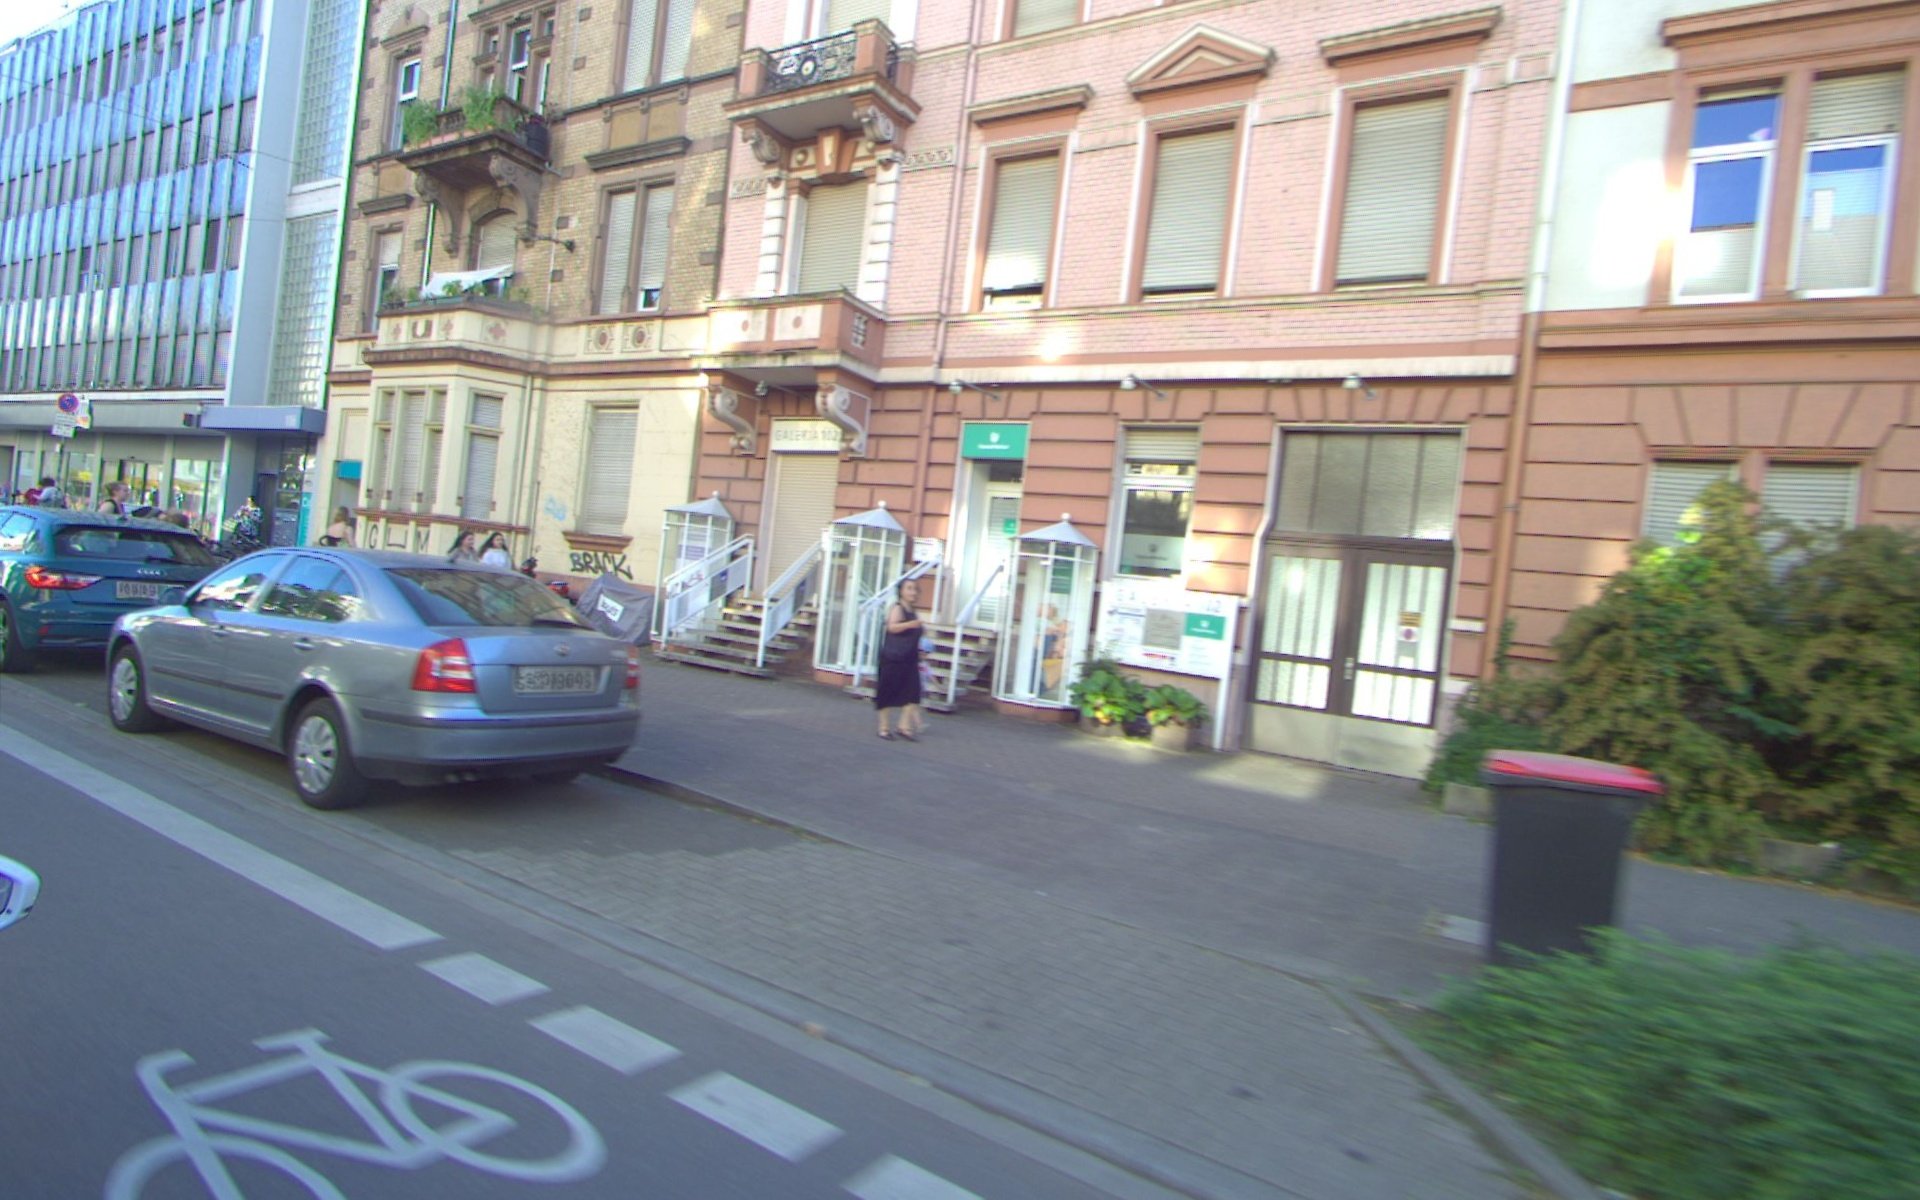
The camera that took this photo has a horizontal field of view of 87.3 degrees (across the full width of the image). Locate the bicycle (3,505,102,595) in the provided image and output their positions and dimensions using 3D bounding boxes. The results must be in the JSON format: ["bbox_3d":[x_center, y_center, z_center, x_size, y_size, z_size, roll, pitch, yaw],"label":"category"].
[{"bbox_3d":[-13.739,-0.764,15.227,1.218,1.199,0.694,6,-1,31],"label":"bicycle"}]

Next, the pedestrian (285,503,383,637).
[{"bbox_3d":[-8.114,-0.380,13.056,0.643,1.626,0.713,7,-1,31],"label":"pedestrian"}]

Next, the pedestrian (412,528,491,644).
[{"bbox_3d":[-7.502,-0.203,14.849,0.643,1.628,0.712,7,3,31],"label":"pedestrian"}]

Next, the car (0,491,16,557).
[{"bbox_3d":[-23.045,-1.929,21.567,1.804,1.504,3.789,7,-2,2],"label":"car"}]

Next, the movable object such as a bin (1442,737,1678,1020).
[{"bbox_3d":[2.775,1.234,4.692,0.792,1.040,0.605,6,0,32],"label":"movable object such as a bin"}]

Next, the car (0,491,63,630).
[{"bbox_3d":[-13.283,-0.700,12.638,3.934,1.615,1.876,6,-1,32],"label":"car"}]

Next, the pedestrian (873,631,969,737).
[{"bbox_3d":[-0.405,0.855,10.542,0.643,0.994,0.712,6,3,31],"label":"pedestrian"}]

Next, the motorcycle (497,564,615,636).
[{"bbox_3d":[-7.037,-0.012,17.452,2.477,1.005,0.506,6,3,32],"label":"motorcycle"}]

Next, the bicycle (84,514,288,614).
[{"bbox_3d":[-12.046,-0.525,15.760,0.653,1.236,2.360,6,-2,35],"label":"bicycle"}]

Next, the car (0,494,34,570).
[{"bbox_3d":[-20.690,-1.579,19.273,1.507,1.525,4.457,7,-2,2],"label":"car"}]

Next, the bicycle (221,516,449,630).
[{"bbox_3d":[-8.465,-0.314,13.799,0.653,1.236,2.543,6,-2,31],"label":"bicycle"}]

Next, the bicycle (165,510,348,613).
[{"bbox_3d":[-10.300,-0.528,14.824,0.653,1.236,2.023,6,-1,31],"label":"bicycle"}]

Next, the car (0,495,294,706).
[{"bbox_3d":[-8.466,-0.078,9.663,3.934,1.615,1.876,6,-1,32],"label":"car"}]

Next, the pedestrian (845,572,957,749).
[{"bbox_3d":[-0.577,0.595,9.947,0.643,1.626,0.713,7,-1,31],"label":"pedestrian"}]

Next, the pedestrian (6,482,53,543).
[{"bbox_3d":[-26.601,-2.496,28.762,0.667,1.606,0.694,7,-1,31],"label":"pedestrian"}]

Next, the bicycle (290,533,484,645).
[{"bbox_3d":[-7.413,-0.107,13.130,0.652,1.236,2.060,7,-1,30],"label":"bicycle"}]

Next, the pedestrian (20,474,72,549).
[{"bbox_3d":[-23.439,-2.261,25.802,0.667,1.777,0.694,7,-1,31],"label":"pedestrian"}]

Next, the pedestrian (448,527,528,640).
[{"bbox_3d":[-7.319,-0.248,15.613,0.643,1.626,0.713,7,-1,31],"label":"pedestrian"}]

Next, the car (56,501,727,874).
[{"bbox_3d":[-4.016,0.385,6.852,4.641,1.615,1.876,6,-1,32],"label":"car"}]

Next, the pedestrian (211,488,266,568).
[{"bbox_3d":[-17.857,-1.779,24.912,0.715,1.827,0.720,7,-1,32],"label":"pedestrian"}]

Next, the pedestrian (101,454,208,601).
[{"bbox_3d":[-9.986,-0.892,12.480,0.643,1.691,0.713,7,-1,31],"label":"pedestrian"}]

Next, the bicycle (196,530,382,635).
[{"bbox_3d":[-9.500,-0.209,14.344,0.653,1.236,2.023,6,-1,31],"label":"bicycle"}]
